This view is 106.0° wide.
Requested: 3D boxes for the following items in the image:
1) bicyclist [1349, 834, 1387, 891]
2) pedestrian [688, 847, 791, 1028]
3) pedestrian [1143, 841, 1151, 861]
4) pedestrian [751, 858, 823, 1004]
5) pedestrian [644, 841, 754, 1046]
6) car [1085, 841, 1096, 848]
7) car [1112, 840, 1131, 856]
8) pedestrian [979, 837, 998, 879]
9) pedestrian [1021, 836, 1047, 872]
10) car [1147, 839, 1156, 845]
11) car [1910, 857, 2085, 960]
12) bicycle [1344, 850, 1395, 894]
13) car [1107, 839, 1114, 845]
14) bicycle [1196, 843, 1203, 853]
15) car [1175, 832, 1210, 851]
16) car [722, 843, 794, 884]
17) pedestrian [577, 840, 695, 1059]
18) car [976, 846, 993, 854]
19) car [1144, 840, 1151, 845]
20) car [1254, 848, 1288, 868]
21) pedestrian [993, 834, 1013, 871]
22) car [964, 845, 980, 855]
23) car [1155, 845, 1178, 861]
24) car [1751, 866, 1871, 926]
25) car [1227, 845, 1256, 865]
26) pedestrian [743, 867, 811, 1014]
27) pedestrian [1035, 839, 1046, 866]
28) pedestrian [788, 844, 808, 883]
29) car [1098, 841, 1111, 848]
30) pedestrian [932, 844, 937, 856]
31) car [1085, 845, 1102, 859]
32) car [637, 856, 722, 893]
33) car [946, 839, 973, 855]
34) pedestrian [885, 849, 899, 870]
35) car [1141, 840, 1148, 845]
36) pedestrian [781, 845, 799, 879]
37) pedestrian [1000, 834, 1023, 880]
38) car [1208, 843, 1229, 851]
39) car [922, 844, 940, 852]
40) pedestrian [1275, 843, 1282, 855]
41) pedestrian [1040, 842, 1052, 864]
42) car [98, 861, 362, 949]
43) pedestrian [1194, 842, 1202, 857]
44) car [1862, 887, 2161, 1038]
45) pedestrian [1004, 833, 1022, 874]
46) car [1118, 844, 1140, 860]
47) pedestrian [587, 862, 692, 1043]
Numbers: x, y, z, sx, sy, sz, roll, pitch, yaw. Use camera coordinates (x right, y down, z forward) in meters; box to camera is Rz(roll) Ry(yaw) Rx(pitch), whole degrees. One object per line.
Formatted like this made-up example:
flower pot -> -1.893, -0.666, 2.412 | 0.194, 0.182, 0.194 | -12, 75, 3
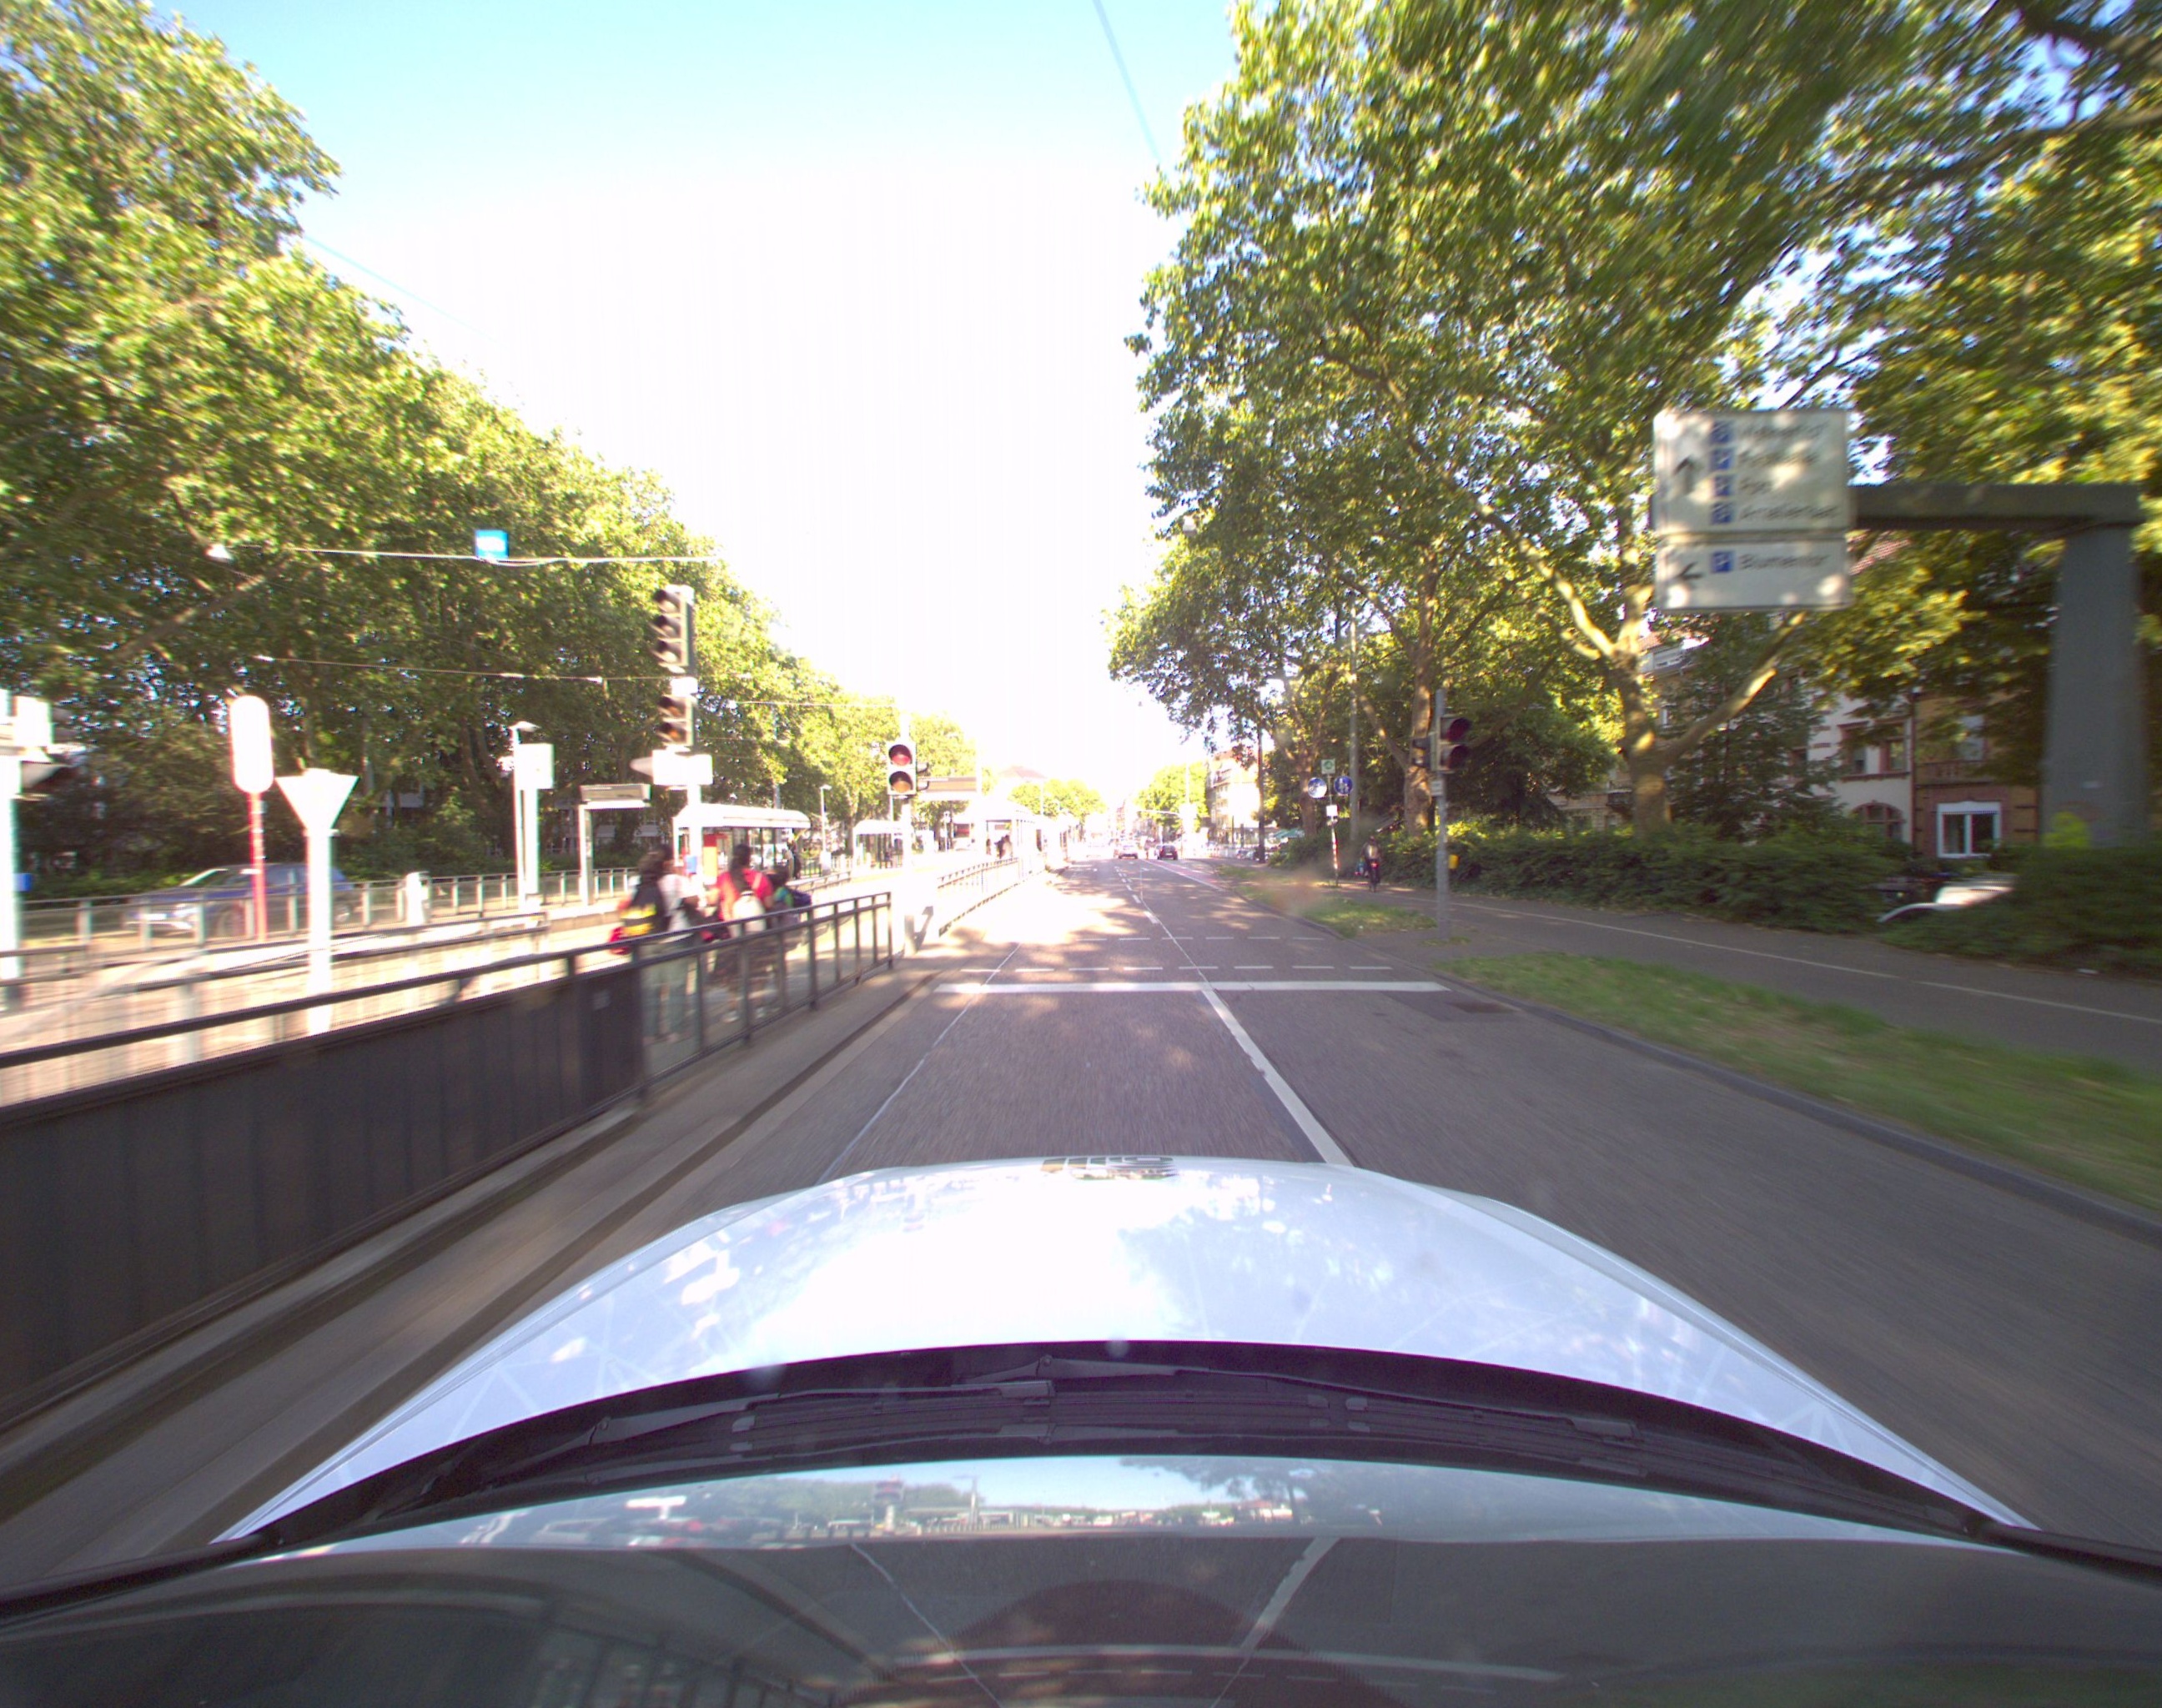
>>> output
bicyclist -> 7.834, 0.211, 22.250 | 0.763, 1.513, 0.650 | -2, 1, 0
pedestrian -> -3.029, 0.717, 7.261 | 0.587, 1.519, 0.514 | -4, 0, 1
pedestrian -> 6.285, -0.263, 77.221 | 0.654, 1.871, 0.678 | -2, 1, 0
pedestrian -> -3.024, 0.764, 8.402 | 0.591, 1.406, 0.556 | -4, 0, -20
pedestrian -> -3.100, 0.697, 6.619 | 0.515, 1.568, 0.511 | -4, 0, 31
car -> 2.149, -2.106, 182.766 | 1.784, 1.510, 4.009 | -2, 0, 8
car -> 4.372, -0.696, 88.065 | 1.794, 1.638, 4.045 | -1, 1, 0
pedestrian -> -3.435, 0.145, 30.272 | 0.586, 1.567, 0.650 | 0, 0, 1
pedestrian -> -2.159, -0.001, 37.159 | 0.792, 1.634, 0.872 | 1, 1, 38
car -> 20.297, -3.459, 234.357 | 2.097, 1.776, 4.342 | -2, 1, 1
car -> 22.681, 1.228, 20.128 | 4.477, 2.014, 1.978 | -4, 2, -29
bicycle -> 7.850, 0.458, 22.248 | 0.763, 1.107, 1.800 | -2, 1, 1
car -> 8.572, -3.421, 235.716 | 1.788, 1.510, 4.000 | -2, 1, 0
bicycle -> 13.251, -0.631, 91.117 | 0.497, 1.075, 1.800 | -1, 0, 1
car -> 16.668, -1.796, 122.123 | 4.993, 2.743, 2.076 | -1, 0, 3
car -> -18.605, 0.528, 47.251 | 2.061, 2.124, 5.089 | -3, 0, -1
pedestrian -> -3.389, 0.701, 6.215 | 0.515, 1.568, 0.511 | -4, 0, 31
car -> -20.186, -0.776, 170.841 | 1.779, 1.510, 4.030 | -1, 1, 20
car -> 19.716, -3.435, 240.893 | 1.788, 1.510, 4.001 | -2, 1, 1
car -> 15.464, 0.314, 66.606 | 1.788, 1.579, 4.443 | -1, 0, 1
pedestrian -> -3.604, -0.070, 37.805 | 0.656, 1.722, 0.703 | 0, 1, -35
car -> -22.938, -0.925, 171.581 | 1.779, 1.955, 4.020 | -1, 1, 20
car -> 7.932, -0.137, 75.596 | 1.794, 1.438, 4.046 | 0, 1, 1
car -> 23.465, 1.291, 26.141 | 4.014, 1.510, 1.782 | -4, 2, -32
car -> 15.470, 0.106, 78.711 | 1.789, 1.898, 4.357 | -1, 0, -1
pedestrian -> -2.867, 0.802, 7.705 | 0.414, 1.320, 0.359 | -4, 0, 1
pedestrian -> -2.596, -0.110, 51.985 | 0.592, 1.677, 0.590 | -1, 0, 6
pedestrian -> -13.054, 0.418, 37.525 | 0.645, 1.772, 0.651 | -1, 0, 3
car -> 5.470, -2.224, 190.797 | 1.779, 1.510, 4.020 | -2, 0, 20
pedestrian -> -18.993, -0.531, 105.610 | 0.533, 1.552, 0.677 | -2, 1, 0
car -> 1.409, -0.285, 89.817 | 1.802, 1.452, 4.000 | -1, 1, 0
car -> -18.832, 0.915, 38.407 | 1.789, 1.510, 4.340 | -3, 0, -1
car -> -25.722, -1.486, 172.751 | 2.473, 3.165, 6.573 | -1, 1, 24
pedestrian -> -12.396, 0.380, 53.344 | 0.668, 1.324, 0.757 | -4, 1, -1
car -> 19.148, -3.532, 247.059 | 1.788, 1.510, 4.001 | -2, 1, 1
pedestrian -> -13.138, 0.367, 36.788 | 0.590, 1.543, 0.627 | -1, 0, 1
pedestrian -> -2.589, 0.098, 30.441 | 0.739, 1.694, 0.791 | 0, 0, 1
car -> 20.620, -1.062, 121.963 | 2.890, 1.162, 2.076 | -1, 0, 3
car -> -32.489, -1.338, 176.301 | 1.778, 1.510, 4.023 | -1, 1, 25
pedestrian -> 21.887, -0.590, 90.229 | 0.642, 1.337, 0.636 | 2, 1, 31
pedestrian -> -2.072, -0.055, 48.623 | 0.676, 1.308, 0.593 | -1, 0, 1
car -> -19.370, 1.081, 18.850 | 1.898, 1.651, 3.970 | -3, 0, -2
pedestrian -> 12.020, -0.448, 83.691 | 0.643, 1.563, 0.635 | 1, 1, 20
car -> 15.397, 1.547, 13.058 | 1.897, 1.812, 4.100 | 0, 1, 1
pedestrian -> -3.100, -0.038, 37.160 | 0.647, 1.841, 0.712 | 0, 0, 11
car -> 4.729, -0.230, 80.840 | 1.922, 1.472, 4.856 | -1, 1, 1
pedestrian -> -3.812, 0.829, 7.062 | 0.518, 1.472, 0.514 | -4, 0, 2
